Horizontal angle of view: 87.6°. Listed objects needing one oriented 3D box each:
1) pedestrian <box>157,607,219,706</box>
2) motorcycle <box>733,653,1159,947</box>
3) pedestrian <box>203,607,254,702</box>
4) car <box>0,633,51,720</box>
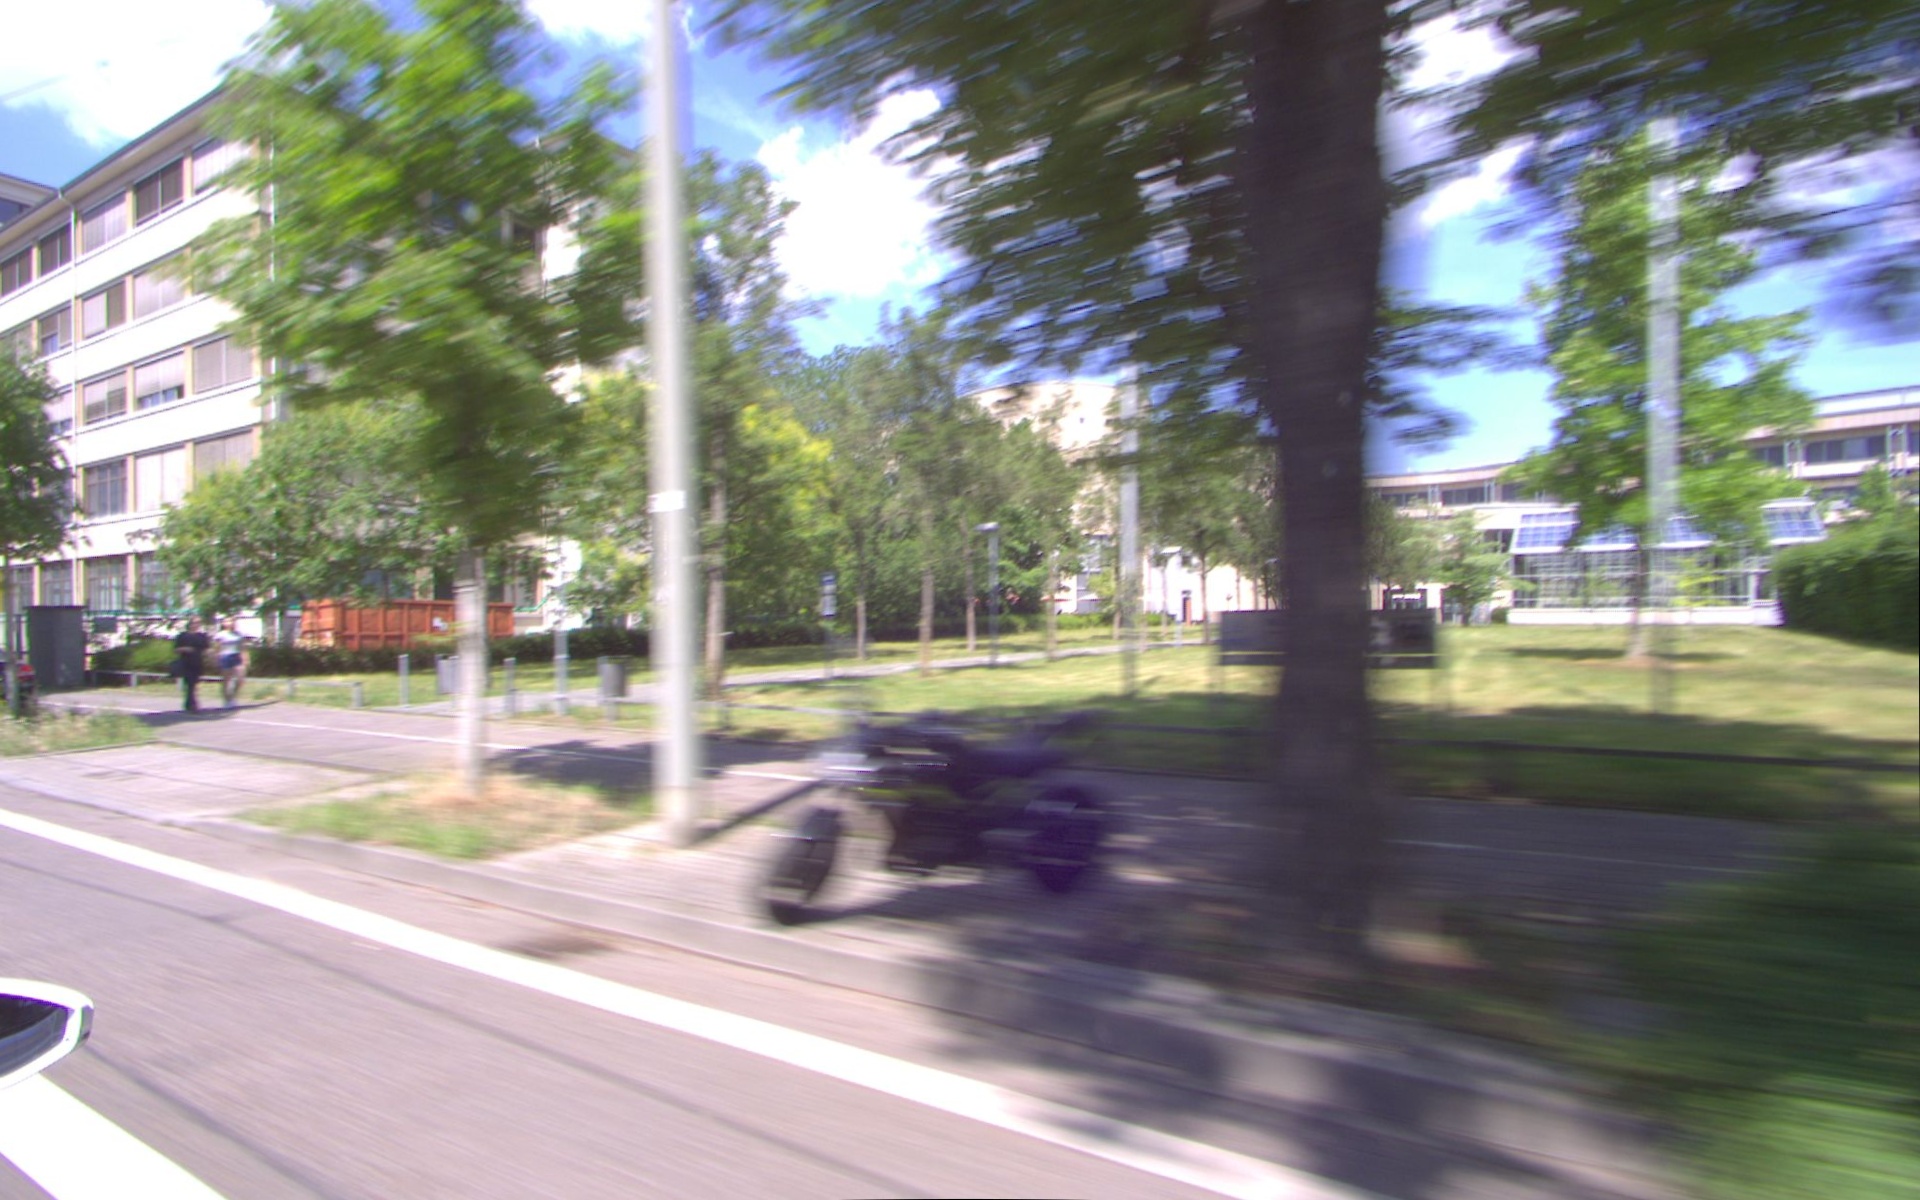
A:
[{"bbox_3d":[-12.792,0.923,16.604,0.602,1.594,0.617,0,1,32],"label":"pedestrian"},{"bbox_3d":[-0.064,0.908,5.001,2.026,1.228,0.612,0,-1,-19],"label":"motorcycle"},{"bbox_3d":[-12.486,0.915,17.102,0.537,1.594,0.511,0,1,32],"label":"pedestrian"},{"bbox_3d":[-16.012,1.159,15.638,3.779,1.286,1.749,-1,-2,33],"label":"car"}]
